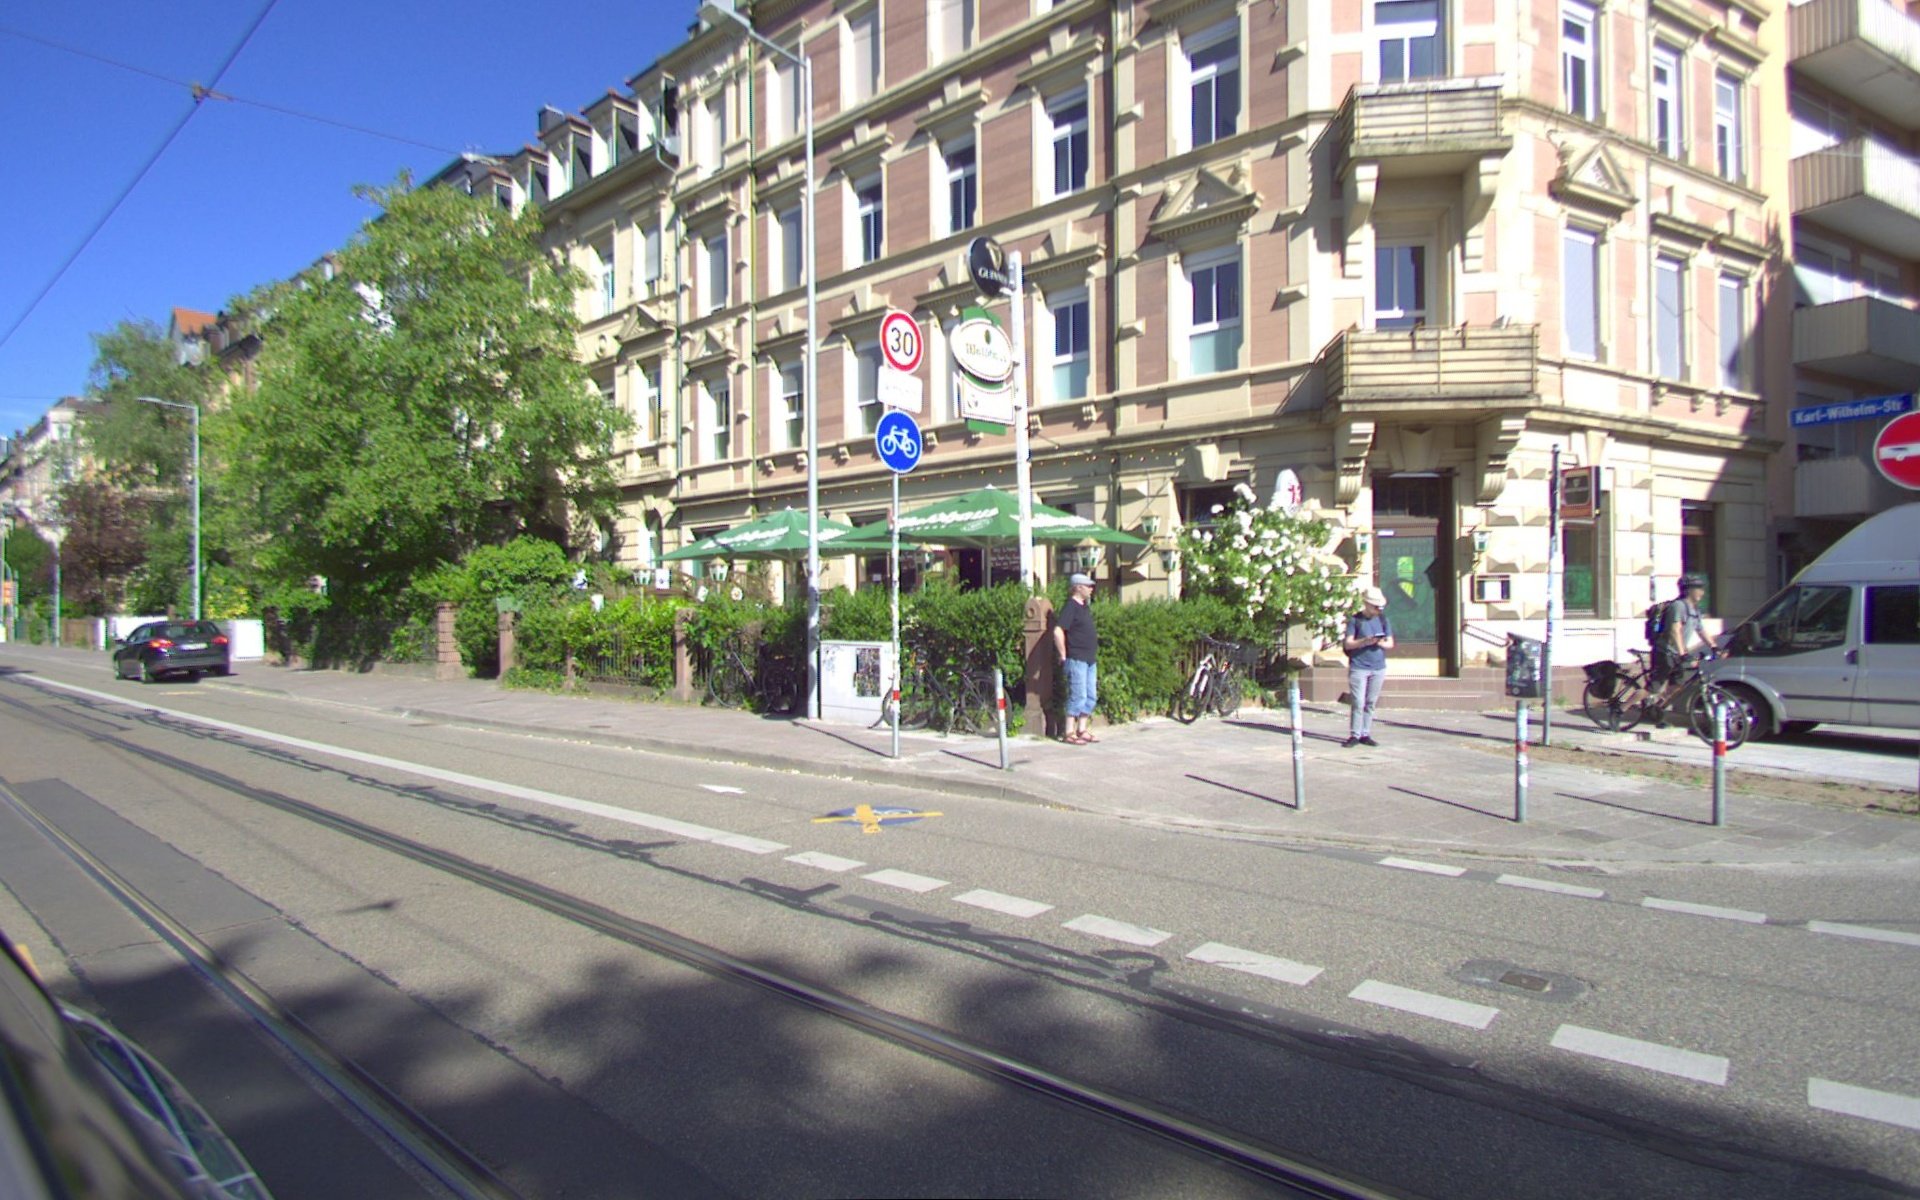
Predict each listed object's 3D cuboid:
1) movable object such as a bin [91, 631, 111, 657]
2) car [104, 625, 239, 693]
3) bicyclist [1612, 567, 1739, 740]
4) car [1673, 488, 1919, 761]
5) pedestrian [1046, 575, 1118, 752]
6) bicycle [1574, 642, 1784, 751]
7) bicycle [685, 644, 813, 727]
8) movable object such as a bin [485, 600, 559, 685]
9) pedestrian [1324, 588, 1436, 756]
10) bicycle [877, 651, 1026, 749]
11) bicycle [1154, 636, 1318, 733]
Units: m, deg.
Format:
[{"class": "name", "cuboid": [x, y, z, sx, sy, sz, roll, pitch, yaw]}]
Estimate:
[{"class": "movable object such as a bin", "cuboid": [-39.617, 2.012, 46.679, 0.664, 1.184, 0.583, -2, -1, 36]}, {"class": "car", "cuboid": [-20.245, 1.452, 25.927, 4.586, 1.588, 1.845, -1, -3, 41]}, {"class": "bicyclist", "cuboid": [8.153, 0.578, 11.553, 0.694, 1.868, 0.989, 0, 0, -29]}, {"class": "car", "cuboid": [10.887, 0.261, 11.002, 1.860, 2.862, 4.797, 1, 0, -32]}, {"class": "pedestrian", "cuboid": [1.283, 0.647, 10.631, 0.538, 1.795, 0.551, -1, -1, 38]}, {"class": "bicycle", "cuboid": [8.147, 1.051, 11.557, 0.694, 1.063, 1.841, 0, 0, -29]}, {"class": "bicycle", "cuboid": [-2.976, 1.151, 14.092, 2.222, 1.046, 0.508, -2, -1, 41]}, {"class": "movable object such as a bin", "cuboid": [-9.682, 0.915, 22.373, 1.268, 1.744, 1.045, -3, 1, -33]}, {"class": "pedestrian", "cuboid": [4.353, 0.712, 10.516, 0.695, 1.667, 0.835, 0, 0, -18]}, {"class": "bicycle", "cuboid": [-0.126, 1.087, 11.405, 1.777, 0.988, 0.522, -2, -1, 41]}, {"class": "bicycle", "cuboid": [3.494, 1.010, 12.691, 2.211, 1.052, 0.877, 0, 0, -40]}]
